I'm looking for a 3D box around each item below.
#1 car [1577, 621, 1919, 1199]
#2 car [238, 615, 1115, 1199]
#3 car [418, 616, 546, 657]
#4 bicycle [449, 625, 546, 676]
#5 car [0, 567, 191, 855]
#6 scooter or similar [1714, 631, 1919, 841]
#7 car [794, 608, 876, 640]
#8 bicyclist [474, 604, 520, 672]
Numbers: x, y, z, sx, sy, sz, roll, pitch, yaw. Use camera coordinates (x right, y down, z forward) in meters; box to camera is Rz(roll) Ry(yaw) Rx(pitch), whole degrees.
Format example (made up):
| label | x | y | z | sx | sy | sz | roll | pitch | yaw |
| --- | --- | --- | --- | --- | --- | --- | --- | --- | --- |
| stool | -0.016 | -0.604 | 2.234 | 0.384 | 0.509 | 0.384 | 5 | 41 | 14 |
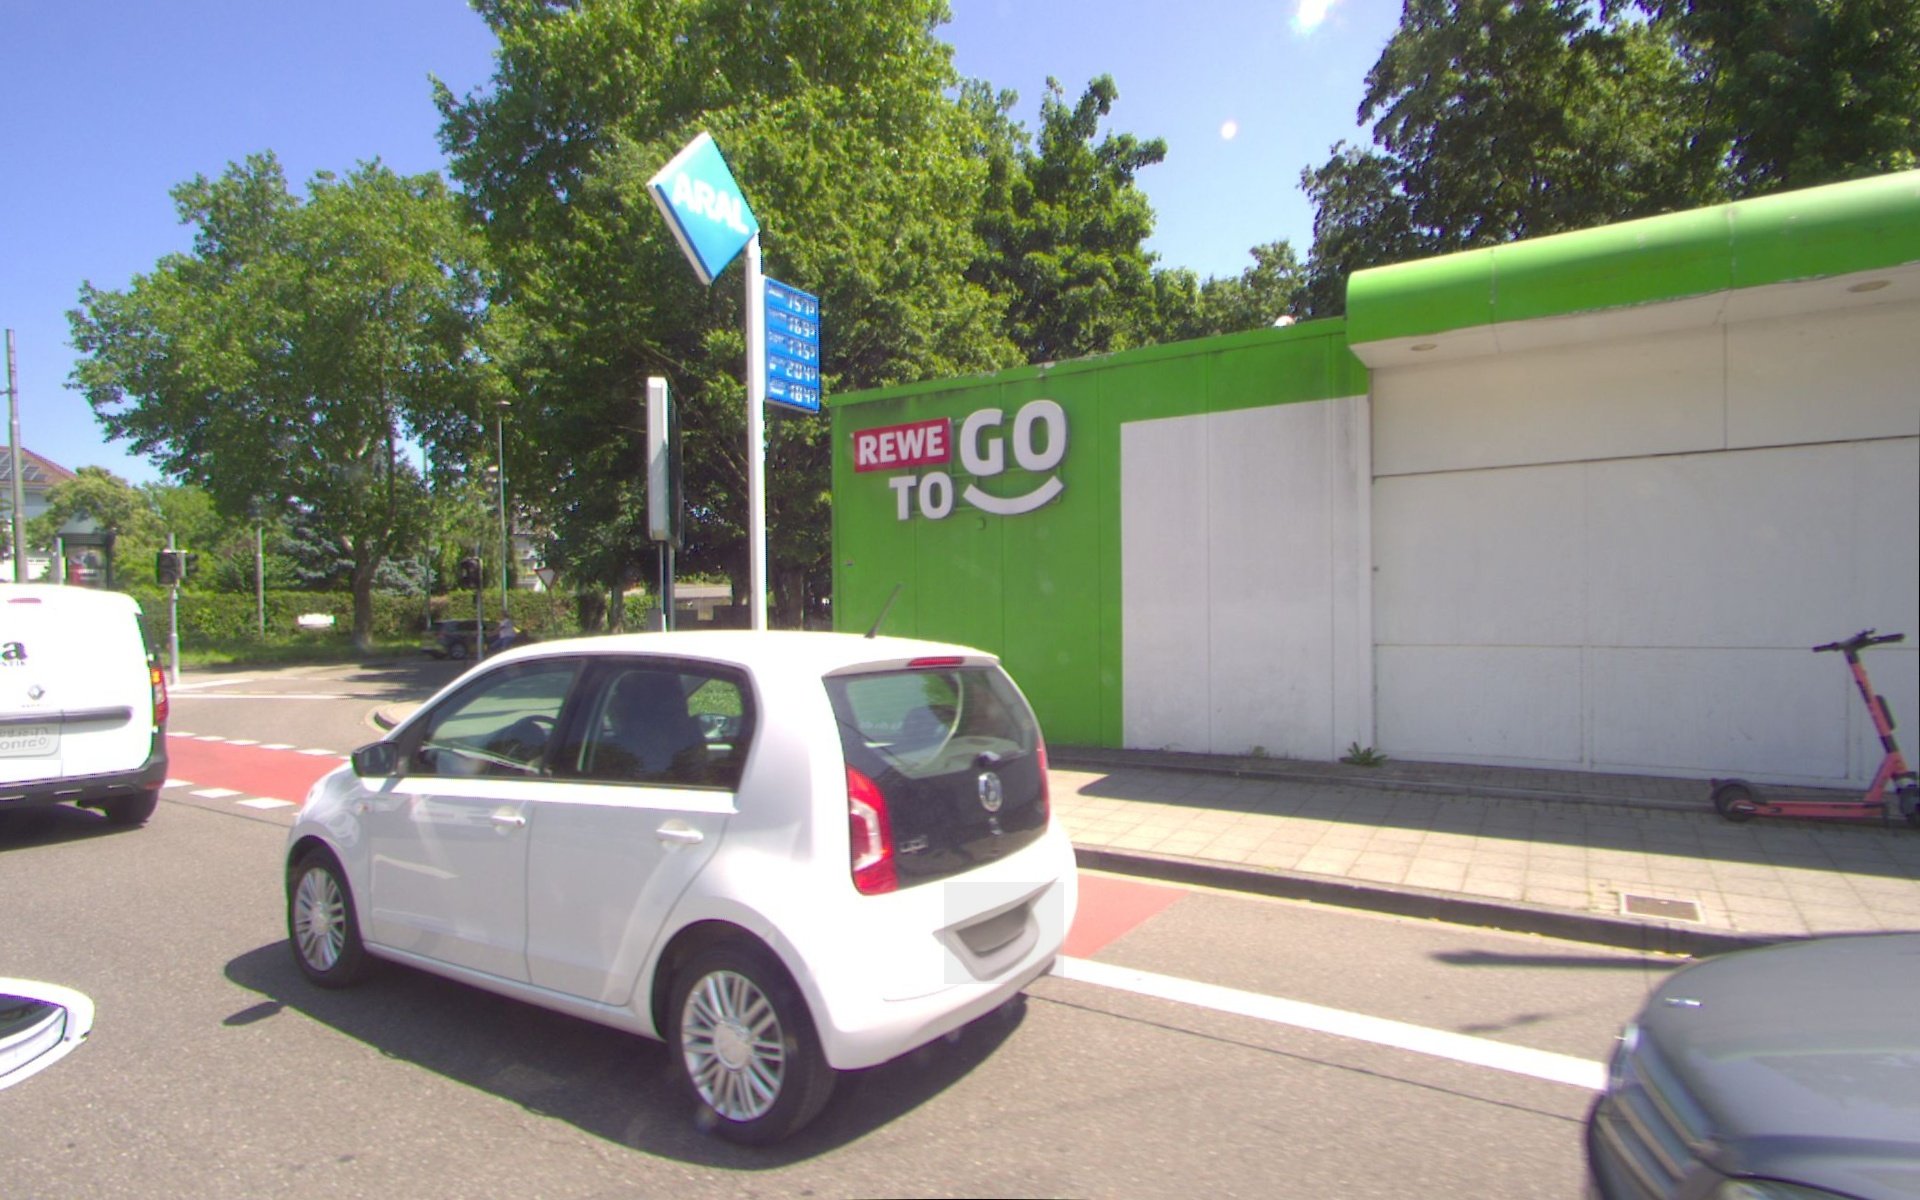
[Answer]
| label | x | y | z | sx | sy | sz | roll | pitch | yaw |
| --- | --- | --- | --- | --- | --- | --- | --- | --- | --- |
| car | 3.069 | 0.758 | 0.817 | 4.355 | 1.468 | 1.792 | -1 | -1 | 33 |
| car | -1.285 | 0.811 | 4.136 | 3.471 | 1.470 | 1.603 | -1 | 0 | 33 |
| car | -17.436 | 1.288 | 36.667 | 1.526 | 1.397 | 3.970 | -1 | -1 | 40 |
| bicycle | -12.430 | 1.322 | 26.935 | 2.241 | 1.285 | 0.881 | 0 | 0 | -36 |
| car | -7.790 | 0.738 | 7.626 | 3.953 | 1.854 | 1.708 | -1 | 0 | 30 |
| scooter or similar | 5.407 | 0.810 | 6.229 | 1.124 | 1.211 | 0.381 | -1 | 3 | 37 |
| car | -6.739 | 1.257 | 54.374 | 1.974 | 1.638 | 4.427 | -1 | -1 | 36 |
| bicyclist | -12.444 | 0.998 | 26.900 | 0.945 | 1.762 | 1.124 | 0 | 0 | -35 |
